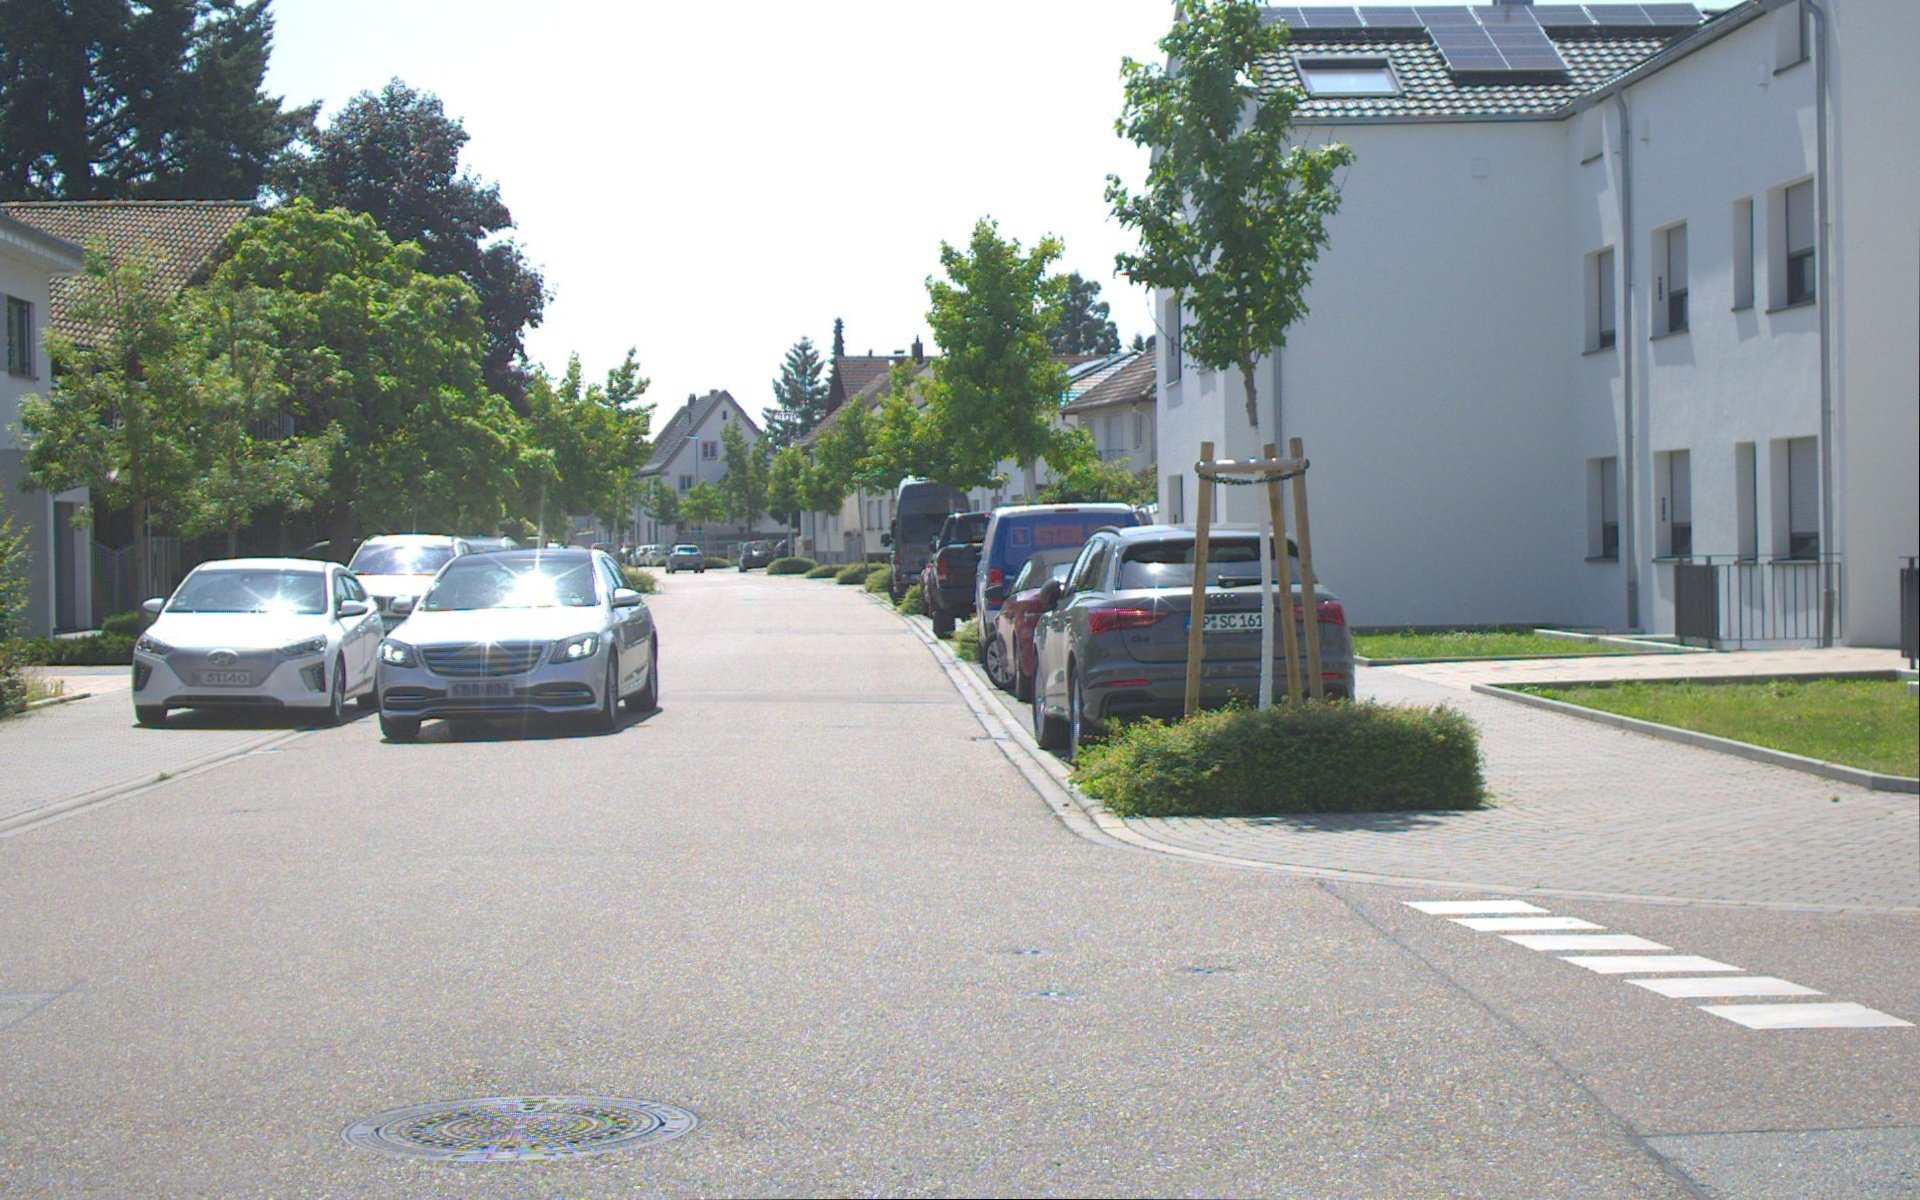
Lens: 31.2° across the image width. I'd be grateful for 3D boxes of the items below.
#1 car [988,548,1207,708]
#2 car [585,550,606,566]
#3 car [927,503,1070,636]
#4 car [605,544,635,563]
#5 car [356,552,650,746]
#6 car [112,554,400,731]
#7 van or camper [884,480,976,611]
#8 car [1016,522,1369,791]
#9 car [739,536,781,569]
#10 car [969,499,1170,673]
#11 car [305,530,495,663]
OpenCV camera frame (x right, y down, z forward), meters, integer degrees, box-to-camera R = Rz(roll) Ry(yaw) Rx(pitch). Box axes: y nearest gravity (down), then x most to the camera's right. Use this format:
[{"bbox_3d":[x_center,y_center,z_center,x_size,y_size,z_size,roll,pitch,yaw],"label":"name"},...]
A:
[{"bbox_3d":[1.281,0.223,33.503,1.679,1.437,4.027,-1,1,-4],"label":"car"},{"bbox_3d":[-25.705,-2.977,242.151,1.188,1.067,3.054,-2,1,-11],"label":"car"},{"bbox_3d":[0.556,-0.503,54.382,1.993,1.940,5.215,-2,1,-2],"label":"car"},{"bbox_3d":[-23.082,-3.187,233.452,1.662,1.246,3.933,-1,1,-10],"label":"car"},{"bbox_3d":[-3.771,0.349,29.133,1.853,1.473,4.700,-1,1,0],"label":"car"},{"bbox_3d":[-6.411,0.337,31.775,1.852,1.483,4.386,-1,1,-2],"label":"car"},{"bbox_3d":[-0.723,-1.260,79.184,1.993,2.931,4.000,0,1,-2],"label":"van or camper"},{"bbox_3d":[1.480,0.314,23.433,1.773,1.590,4.280,-2,1,-4],"label":"car"},{"bbox_3d":[-10.062,-2.401,173.161,1.993,1.568,4.000,-1,1,-2],"label":"car"},{"bbox_3d":[1.208,-0.190,40.090,2.099,1.875,4.843,-1,1,-1],"label":"car"},{"bbox_3d":[-7.533,-0.082,46.601,1.927,1.681,4.499,-1,1,-2],"label":"car"}]
